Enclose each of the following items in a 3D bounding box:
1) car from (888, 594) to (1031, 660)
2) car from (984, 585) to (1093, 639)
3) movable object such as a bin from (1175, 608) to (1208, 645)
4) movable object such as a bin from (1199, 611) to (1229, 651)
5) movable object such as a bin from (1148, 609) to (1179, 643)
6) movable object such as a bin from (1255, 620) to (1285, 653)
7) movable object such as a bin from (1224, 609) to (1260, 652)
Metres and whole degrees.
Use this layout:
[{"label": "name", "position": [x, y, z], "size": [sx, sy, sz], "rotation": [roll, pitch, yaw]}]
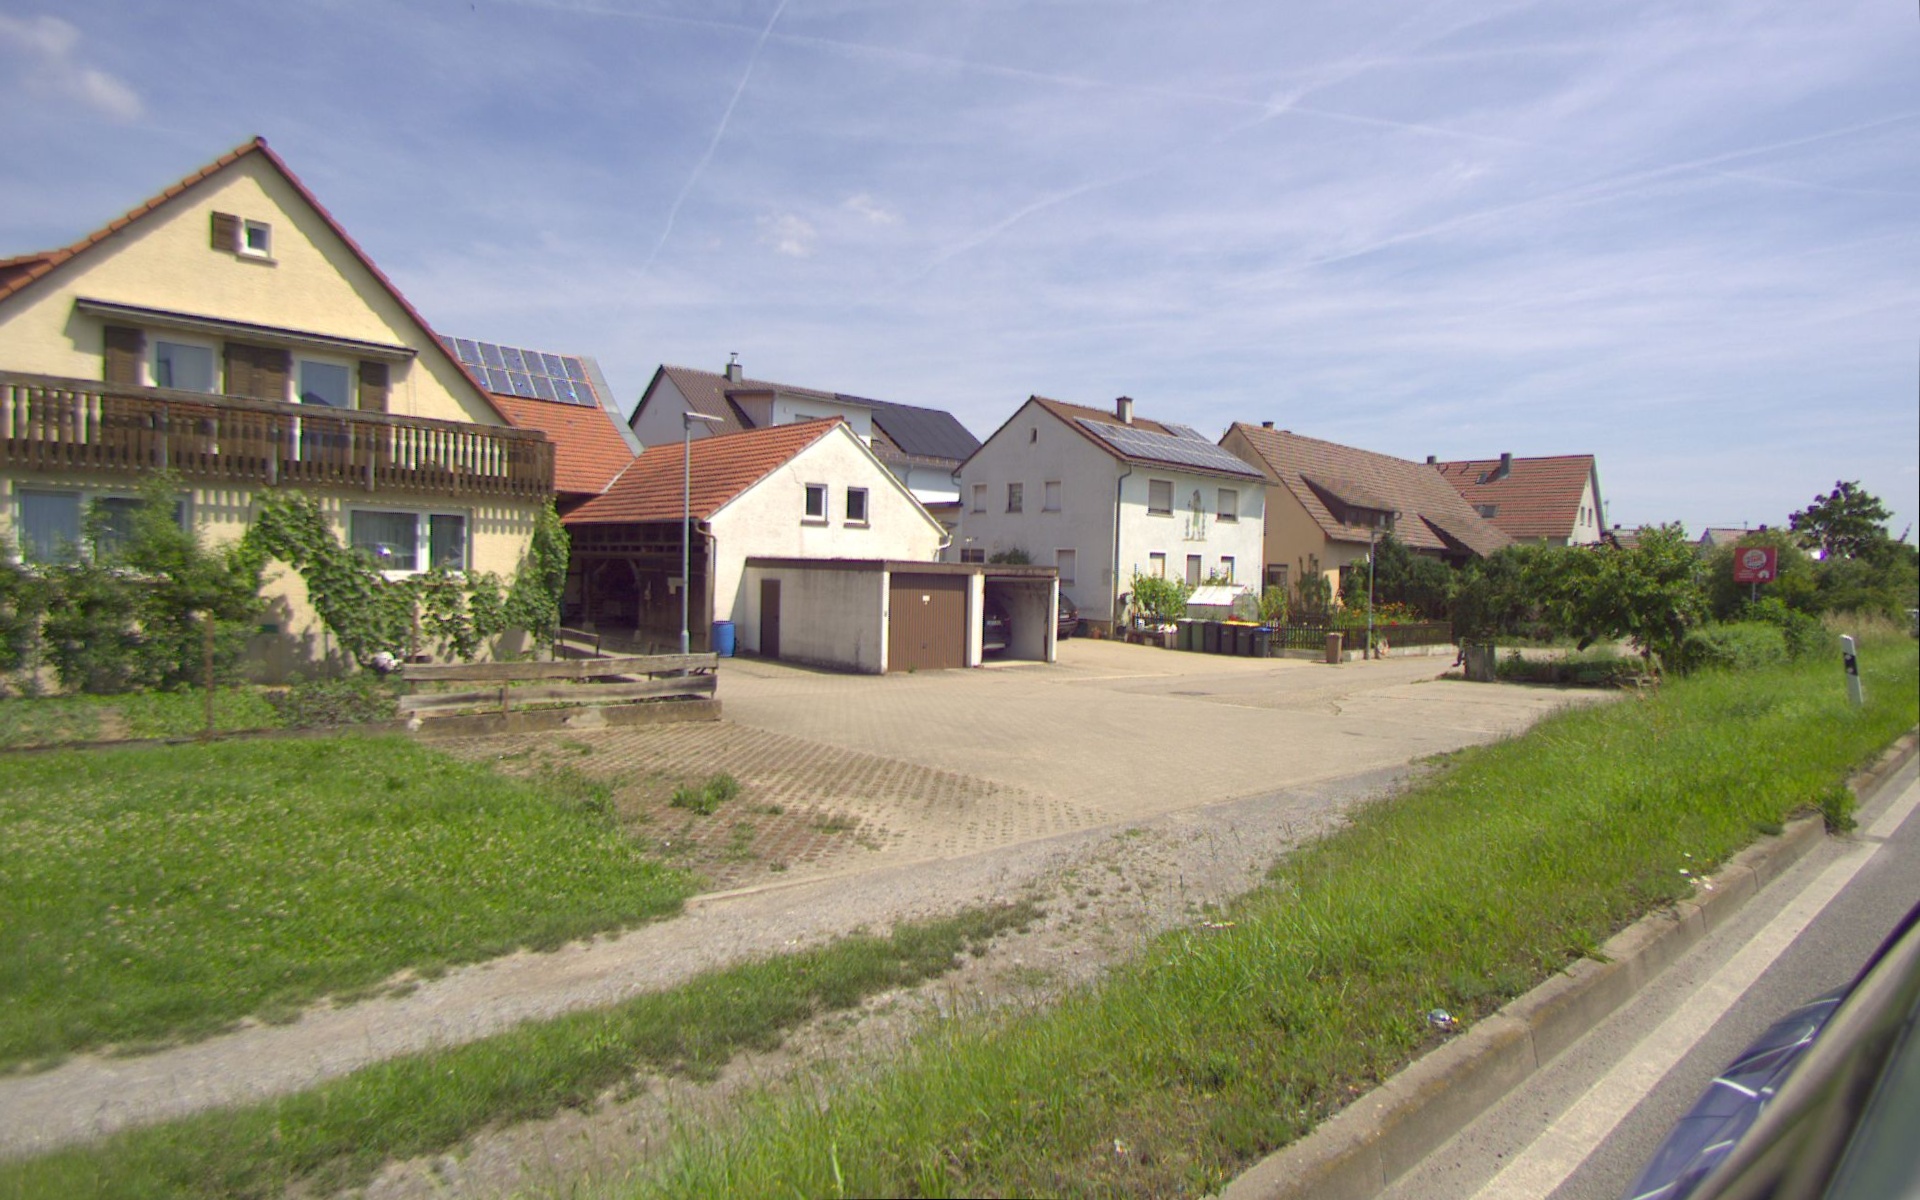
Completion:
[{"label": "car", "position": [-0.088, 0.687, 27.711], "size": [1.794, 1.624, 3.995], "rotation": [1, 0, -39]}, {"label": "car", "position": [2.914, 0.401, 38.259], "size": [1.796, 1.755, 3.996], "rotation": [0, 3, -40]}, {"label": "movable object such as a bin", "position": [8.141, 0.929, 35.587], "size": [0.874, 1.262, 0.744], "rotation": [1, -1, -41]}, {"label": "movable object such as a bin", "position": [8.745, 1.051, 34.897], "size": [0.806, 1.355, 0.677], "rotation": [1, -1, -41]}, {"label": "movable object such as a bin", "position": [7.275, 0.928, 36.231], "size": [0.815, 1.171, 0.739], "rotation": [1, -1, -41]}, {"label": "movable object such as a bin", "position": [10.086, 1.186, 32.958], "size": [0.743, 1.040, 0.645], "rotation": [1, -1, -41]}, {"label": "movable object such as a bin", "position": [9.379, 0.993, 33.673], "size": [0.930, 1.388, 0.764], "rotation": [1, -1, -41]}]
